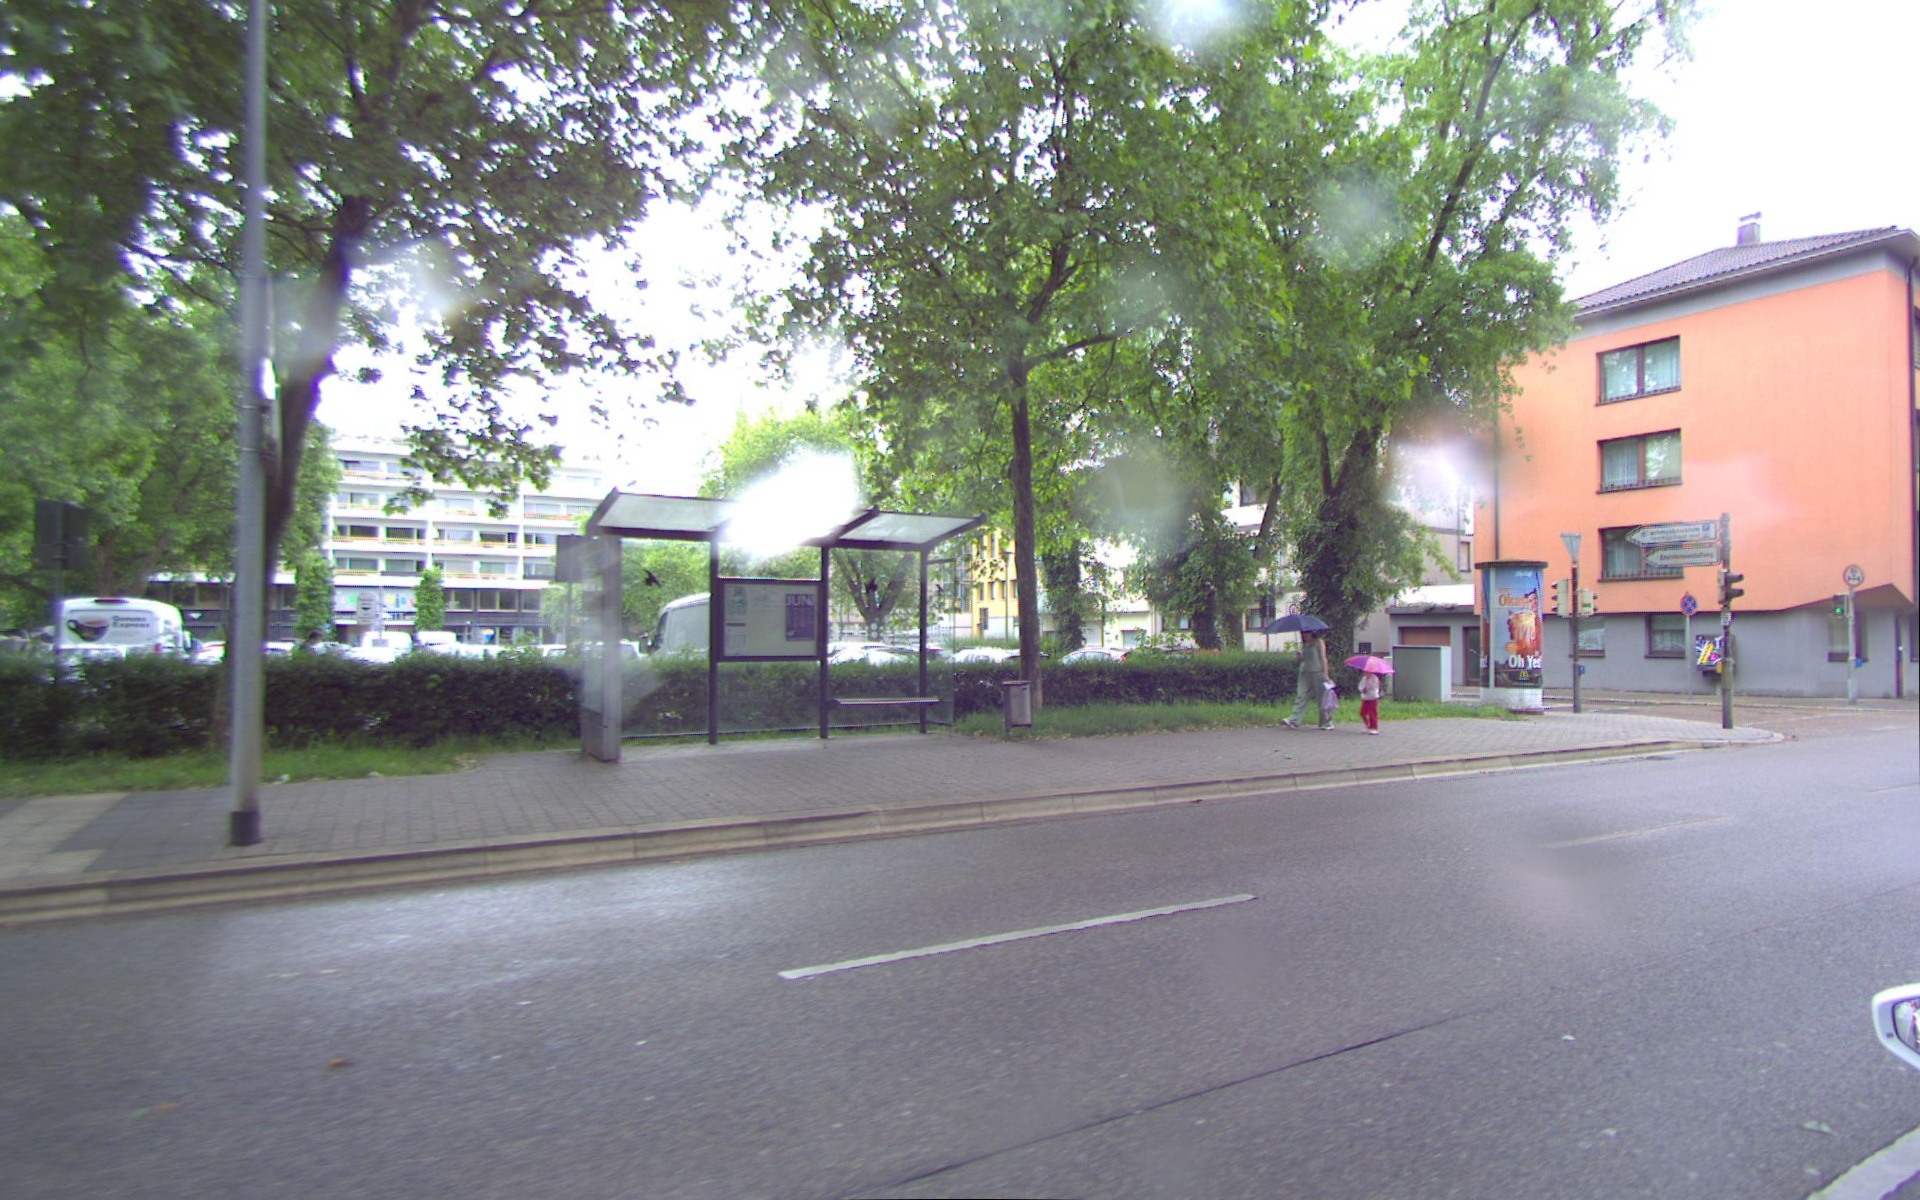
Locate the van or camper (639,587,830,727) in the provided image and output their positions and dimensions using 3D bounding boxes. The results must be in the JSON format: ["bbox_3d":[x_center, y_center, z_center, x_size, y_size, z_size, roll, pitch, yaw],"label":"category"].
[{"bbox_3d":[-4.220,1.012,18.230,2.026,2.198,4.458,2,-3,-32],"label":"van or camper"}]

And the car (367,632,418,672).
[{"bbox_3d":[-21.626,1.976,38.266,1.587,1.447,3.293,2,-3,-30],"label":"car"}]

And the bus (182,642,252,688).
[{"bbox_3d":[-26.277,2.274,35.596,1.587,1.559,3.403,2,-3,-30],"label":"bus"}]

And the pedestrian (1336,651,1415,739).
[{"bbox_3d":[5.982,1.349,14.469,0.817,1.190,0.681,1,0,-30],"label":"pedestrian"}]

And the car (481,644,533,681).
[{"bbox_3d":[-18.408,2.505,40.752,1.587,1.447,3.293,2,-3,-30],"label":"car"}]

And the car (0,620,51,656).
[{"bbox_3d":[-41.584,1.665,44.439,1.412,1.447,2.941,1,0,-30],"label":"car"}]

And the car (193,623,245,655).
[{"bbox_3d":[-34.786,1.855,47.238,1.587,1.447,3.293,2,-3,-30],"label":"car"}]

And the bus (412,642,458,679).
[{"bbox_3d":[-23.097,2.637,44.149,1.587,1.559,3.403,2,-3,-30],"label":"bus"}]

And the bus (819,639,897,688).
[{"bbox_3d":[-3.192,1.949,31.119,1.364,1.451,2.777,2,-3,-30],"label":"bus"}]

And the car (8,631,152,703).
[{"bbox_3d":[-19.425,1.451,22.324,1.680,1.467,3.406,1,-3,-29],"label":"car"}]

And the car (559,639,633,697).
[{"bbox_3d":[-9.842,1.808,27.077,1.375,1.454,3.248,1,-3,-29],"label":"car"}]

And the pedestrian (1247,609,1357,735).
[{"bbox_3d":[5.089,1.038,14.964,1.195,1.765,0.987,1,0,-30],"label":"pedestrian"}]

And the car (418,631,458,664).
[{"bbox_3d":[-27.891,2.516,53.615,1.622,1.544,3.174,2,0,-32],"label":"car"}]

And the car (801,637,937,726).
[{"bbox_3d":[-1.944,1.622,20.757,1.492,1.544,3.174,2,0,-32],"label":"car"}]

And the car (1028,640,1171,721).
[{"bbox_3d":[3.072,1.757,22.609,1.492,1.544,3.174,2,0,-32],"label":"car"}]

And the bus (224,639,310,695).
[{"bbox_3d":[-18.744,1.792,27.281,1.616,1.406,3.543,2,-3,-30],"label":"bus"}]

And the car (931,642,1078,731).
[{"bbox_3d":[0.851,1.717,20.739,1.492,1.544,3.174,2,0,-32],"label":"car"}]

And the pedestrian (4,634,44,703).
[{"bbox_3d":[-17.192,1.248,18.461,0.462,1.229,0.434,2,0,-37],"label":"pedestrian"}]

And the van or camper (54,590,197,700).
[{"bbox_3d":[-21.426,1.171,26.005,2.074,2.570,4.392,2,-3,-30],"label":"van or camper"}]

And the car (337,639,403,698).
[{"bbox_3d":[-15.464,1.766,26.426,1.375,1.454,3.248,1,-3,-29],"label":"car"}]

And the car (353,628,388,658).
[{"bbox_3d":[-33.761,2.448,57.499,1.622,1.544,3.174,1,0,-32],"label":"car"}]

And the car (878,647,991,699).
[{"bbox_3d":[-0.875,2.272,31.983,1.799,1.535,3.965,2,-3,-33],"label":"car"}]

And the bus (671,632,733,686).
[{"bbox_3d":[-8.525,1.930,33.113,1.363,1.698,2.779,2,-3,-28],"label":"bus"}]

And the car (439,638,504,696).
[{"bbox_3d":[-13.114,1.762,26.896,1.375,1.454,3.248,1,-3,-29],"label":"car"}]

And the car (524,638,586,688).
[{"bbox_3d":[-12.461,1.913,30.844,1.375,1.454,3.248,1,-3,-29],"label":"car"}]

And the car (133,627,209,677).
[{"bbox_3d":[-30.241,1.988,38.610,1.797,1.796,3.902,1,-3,-32],"label":"car"}]

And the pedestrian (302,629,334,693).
[{"bbox_3d":[-12.602,1.186,19.713,0.481,1.229,0.434,2,0,-37],"label":"pedestrian"}]

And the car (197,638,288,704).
[{"bbox_3d":[-17.213,1.674,24.217,1.375,1.454,3.248,1,-3,-29],"label":"car"}]
